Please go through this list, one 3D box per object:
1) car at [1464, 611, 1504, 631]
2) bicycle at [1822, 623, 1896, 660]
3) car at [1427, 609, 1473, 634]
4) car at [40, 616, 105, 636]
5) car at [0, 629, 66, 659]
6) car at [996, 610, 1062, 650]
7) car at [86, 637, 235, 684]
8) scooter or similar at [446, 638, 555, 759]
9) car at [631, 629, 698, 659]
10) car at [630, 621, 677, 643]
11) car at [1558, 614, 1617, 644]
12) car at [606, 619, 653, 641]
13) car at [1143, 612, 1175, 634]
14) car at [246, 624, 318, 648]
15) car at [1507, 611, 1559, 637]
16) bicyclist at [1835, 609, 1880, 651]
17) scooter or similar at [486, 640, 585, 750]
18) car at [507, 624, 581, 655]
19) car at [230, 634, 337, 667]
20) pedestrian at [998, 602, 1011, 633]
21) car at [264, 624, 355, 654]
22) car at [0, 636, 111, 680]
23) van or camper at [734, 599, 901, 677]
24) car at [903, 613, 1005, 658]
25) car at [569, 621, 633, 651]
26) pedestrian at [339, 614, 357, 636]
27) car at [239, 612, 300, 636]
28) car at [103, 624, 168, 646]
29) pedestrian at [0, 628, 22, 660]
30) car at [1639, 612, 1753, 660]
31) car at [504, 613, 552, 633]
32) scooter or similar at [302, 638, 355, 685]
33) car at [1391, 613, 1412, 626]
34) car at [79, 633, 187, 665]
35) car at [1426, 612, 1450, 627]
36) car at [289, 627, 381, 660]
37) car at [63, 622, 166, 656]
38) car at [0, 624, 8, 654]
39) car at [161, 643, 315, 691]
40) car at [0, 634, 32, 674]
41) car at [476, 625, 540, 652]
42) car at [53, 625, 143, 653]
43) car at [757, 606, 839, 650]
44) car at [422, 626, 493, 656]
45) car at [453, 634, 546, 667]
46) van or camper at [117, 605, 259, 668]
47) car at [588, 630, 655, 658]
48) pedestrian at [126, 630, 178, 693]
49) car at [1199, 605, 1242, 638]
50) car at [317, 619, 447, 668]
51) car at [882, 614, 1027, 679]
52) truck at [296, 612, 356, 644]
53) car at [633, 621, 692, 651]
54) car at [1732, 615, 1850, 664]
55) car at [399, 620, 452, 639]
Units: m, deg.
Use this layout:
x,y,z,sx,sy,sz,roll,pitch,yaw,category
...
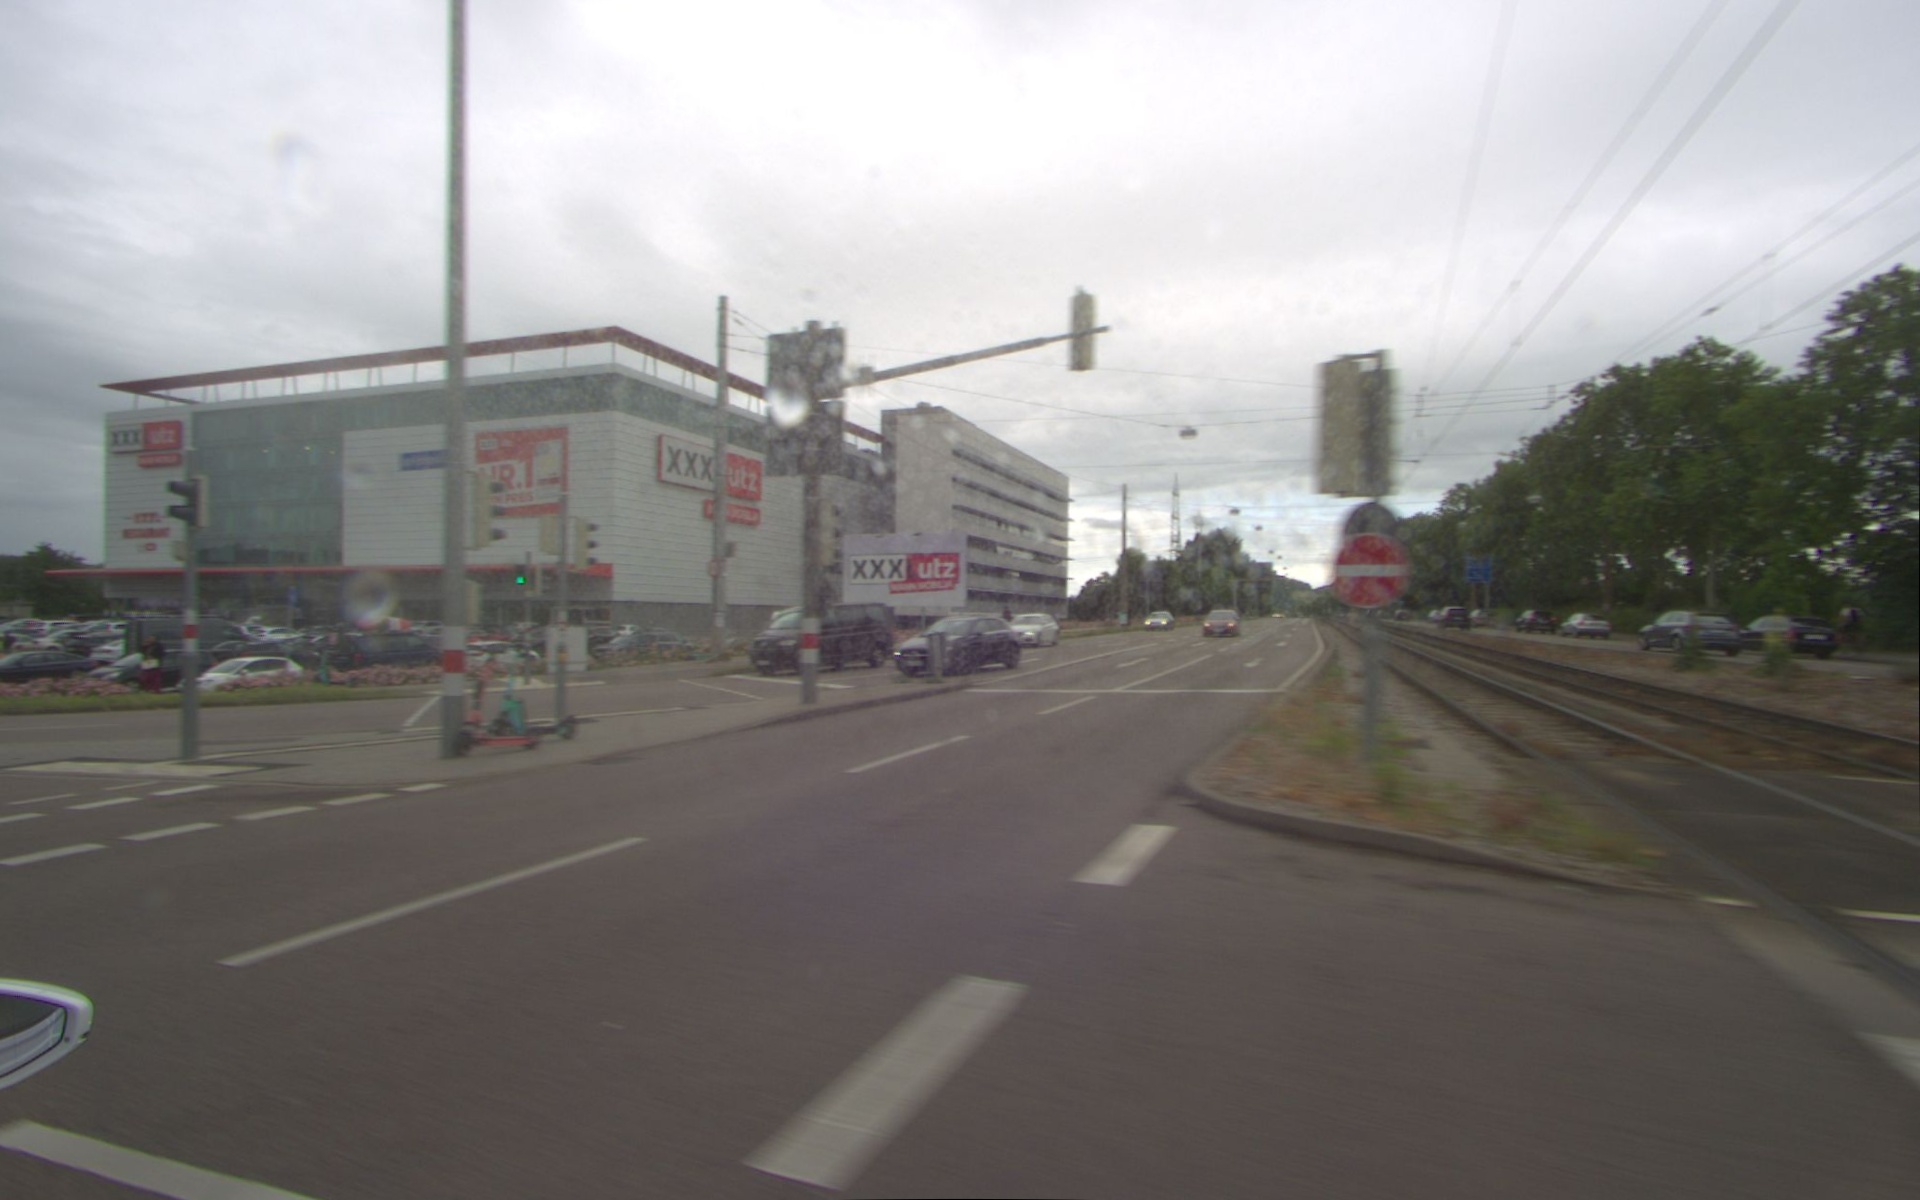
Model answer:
x,y,z,sx,sy,sz,roll,pitch,yaw,category
44.472,1.760,85.131,1.827,1.582,4.314,4,0,12,car
32.336,1.455,36.075,0.803,1.201,2.520,0,1,12,bicycle
34.020,1.451,69.621,1.803,1.658,4.314,1,0,12,car
-71.573,2.117,80.794,1.711,1.607,3.570,0,-2,26,car
-54.216,2.504,57.144,1.803,1.604,4.416,2,-1,23,car
3.052,1.270,43.637,1.703,1.559,4.037,2,0,21,car
-30.297,2.242,38.093,1.739,1.604,4.097,2,-1,22,car
-5.208,1.091,11.394,0.458,1.272,1.012,-2,-1,34,scooter or similar
-17.427,2.561,59.328,1.852,1.687,3.994,1,-1,18,car
-24.130,2.475,78.956,1.623,1.581,3.606,1,1,23,car
35.685,1.650,57.036,1.701,1.529,3.629,2,1,13,car
-26.474,2.389,80.374,1.623,1.581,3.606,1,1,23,car
15.247,1.768,76.557,1.716,1.623,4.068,2,-1,20,car
-48.640,2.556,71.918,1.802,1.676,3.993,0,-2,20,car
38.599,1.584,67.605,1.828,1.582,4.314,4,0,14,car
32.288,1.070,36.029,0.803,1.499,0.999,0,1,12,bicyclist
-5.267,1.158,12.473,0.316,1.272,1.109,-2,-1,34,scooter or similar
-26.186,2.457,63.186,1.834,1.804,4.211,0,0,24,car
-33.593,2.470,49.804,1.917,1.575,3.986,0,-2,27,car
2.683,1.055,60.202,0.537,1.805,0.633,2,0,20,pedestrian
-36.728,2.191,56.647,1.823,1.575,3.991,0,-2,22,car
-37.289,2.299,40.237,1.740,1.604,4.529,3,0,24,car
-4.076,1.060,29.397,2.097,2.040,4.720,-2,-1,37,van or camper
-0.130,1.214,35.804,1.937,1.483,4.306,0,0,26,car
-24.388,2.422,68.125,1.918,1.954,3.989,0,-1,24,car
-54.008,2.203,88.414,0.951,1.894,0.950,2,0,-2,pedestrian
-58.301,2.025,84.608,1.771,1.846,3.994,2,-1,19,car
-64.609,2.743,78.489,1.711,1.607,3.570,0,-2,26,car
-52.968,2.447,55.598,0.870,1.742,0.941,2,0,20,pedestrian
24.423,1.157,33.419,1.711,1.420,4.071,2,0,16,car
-36.299,1.894,84.264,1.623,1.581,3.606,1,1,23,car
-17.143,1.668,27.208,1.144,1.248,0.346,0,-2,-17,scooter or similar
53.123,2.347,120.514,1.720,1.450,3.371,3,1,15,car
-43.429,2.537,52.689,1.832,1.572,3.990,0,-2,23,car
50.689,2.048,106.231,1.788,1.500,3.667,2,-1,17,car
-34.442,2.365,55.302,1.854,1.692,3.990,0,-1,23,car
-45.637,2.077,54.125,1.799,1.676,3.896,1,0,20,car
-59.109,2.296,59.164,1.704,1.791,3.740,2,-1,23,car
-25.687,2.353,35.793,1.842,1.464,4.113,2,-1,20,car
-42.123,2.297,42.262,1.786,1.664,3.987,0,-1,26,car
-31.780,2.690,70.497,1.790,1.842,3.989,0,-1,24,car
-54.626,2.466,63.542,1.757,1.655,3.991,0,-2,23,car
-11.935,2.078,74.292,2.721,3.028,6.935,2,-1,22,car
-33.055,2.682,65.946,1.802,1.886,3.990,0,-1,22,car
-23.246,2.518,50.687,1.716,1.495,4.200,0,-1,23,car
-38.963,1.797,50.682,1.961,3.022,5.375,0,-1,29,van or camper
-20.100,2.571,59.606,1.800,1.536,3.994,0,-1,18,car
-21.372,1.623,26.500,0.703,1.617,0.784,-2,-1,8,pedestrian
14.493,1.195,55.644,1.965,1.750,3.992,0,-1,20,car
-27.151,1.980,47.217,2.088,2.193,5.035,0,-1,26,car
-0.050,1.153,26.138,1.811,1.483,4.185,-1,0,32,car
-49.025,2.143,77.481,1.709,2.417,3.574,0,-2,20,truck
-19.957,2.417,67.347,1.964,1.976,3.995,0,-1,17,car
28.800,1.351,34.882,1.710,1.498,4.312,2,-1,19,car
-47.295,2.605,88.676,1.798,1.574,3.798,2,-1,21,car
